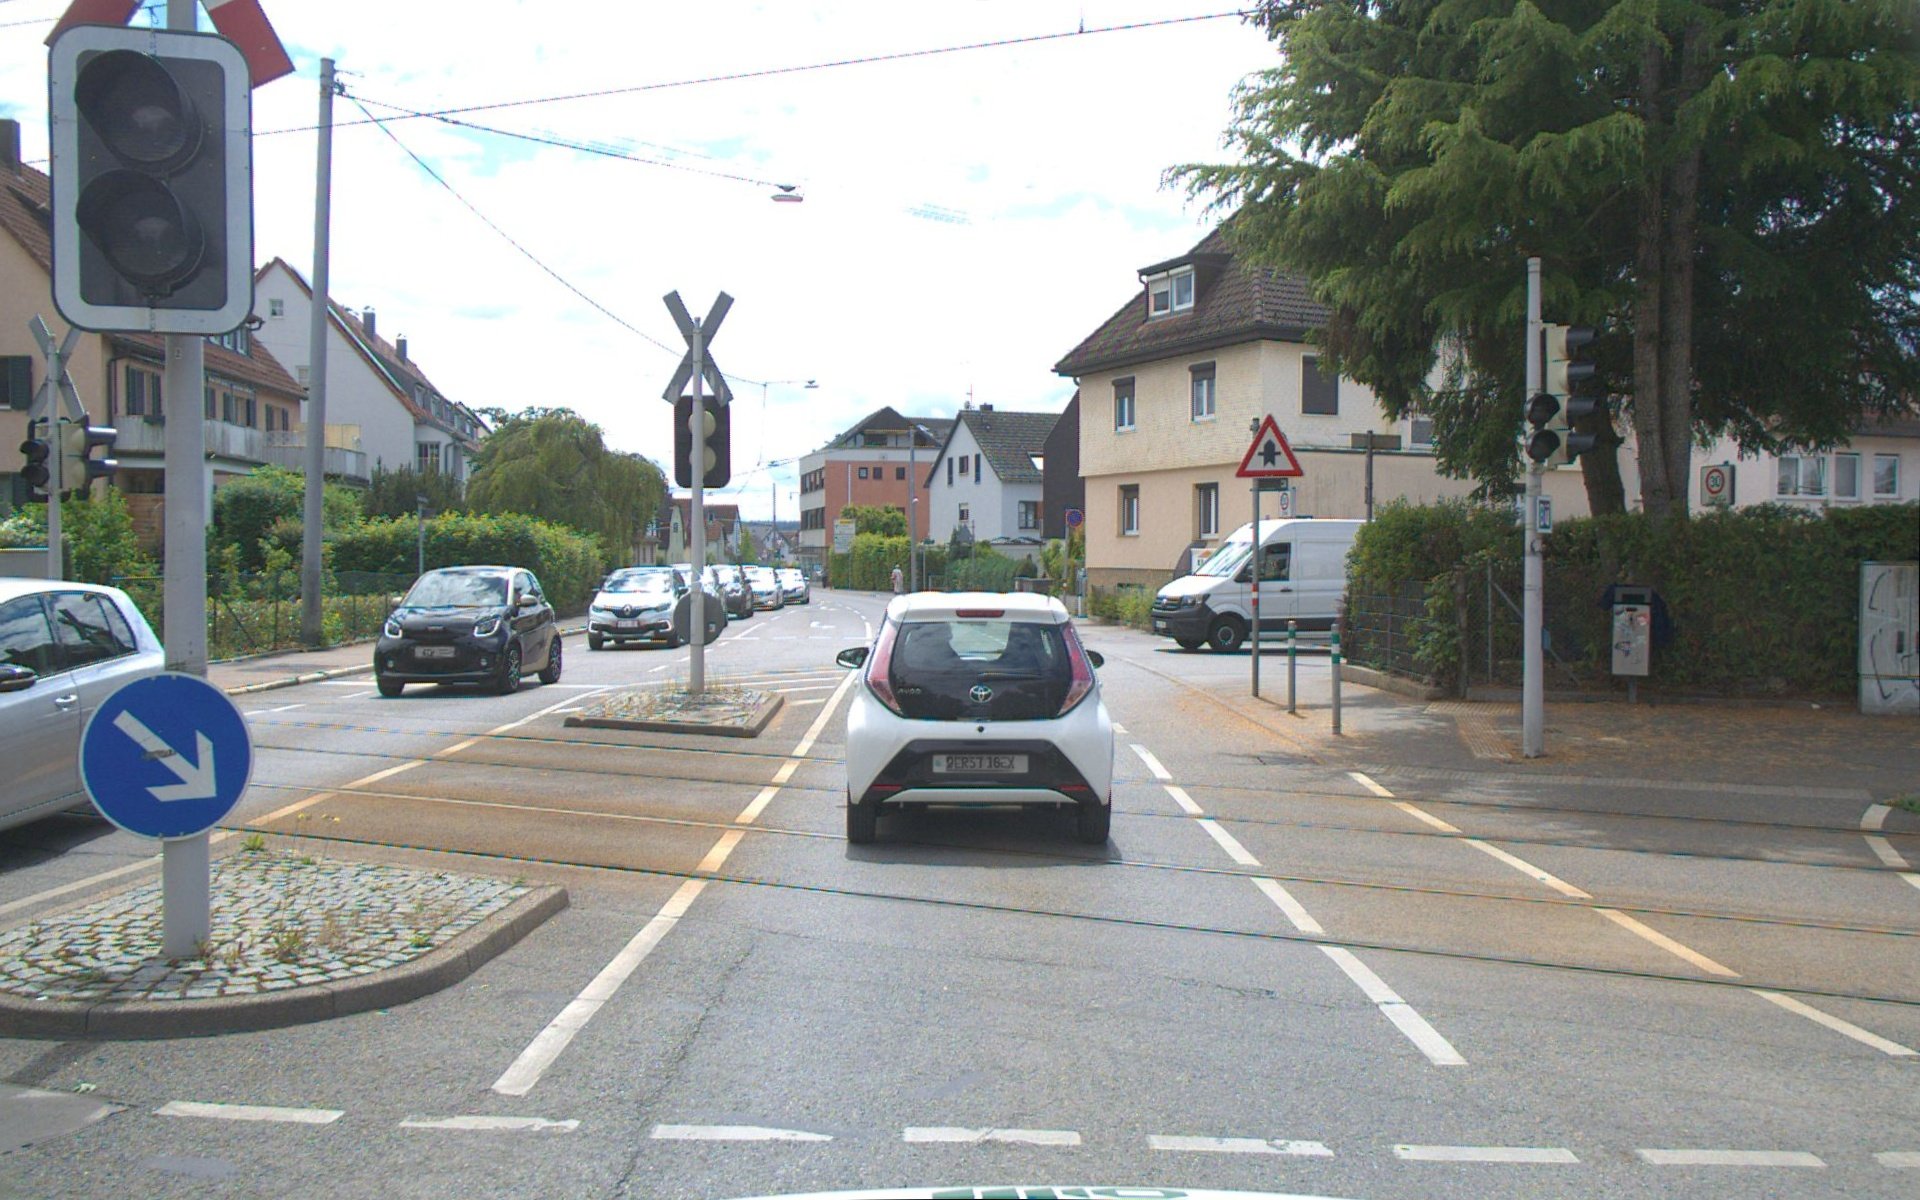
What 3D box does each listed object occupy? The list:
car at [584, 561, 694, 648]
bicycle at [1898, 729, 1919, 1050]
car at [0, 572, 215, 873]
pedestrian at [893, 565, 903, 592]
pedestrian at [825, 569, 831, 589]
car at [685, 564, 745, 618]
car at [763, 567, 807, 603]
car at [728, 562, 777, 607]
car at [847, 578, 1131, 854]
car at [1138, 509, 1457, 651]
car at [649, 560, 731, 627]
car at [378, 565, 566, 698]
[{"bbox_3d":[-6.383,0.053,33.276,1.740,1.631,4.035,0,1,-5],"label":"car"},{"bbox_3d":[3.648,0.974,4.694,0.912,1.058,1.915,2,-1,2],"label":"bicycle"},{"bbox_3d":[-5.680,0.612,8.877,1.654,1.483,4.068,0,1,-2],"label":"car"},{"bbox_3d":[-3.467,-1.209,92.911,0.405,1.463,0.437,1,1,24],"label":"pedestrian"},{"bbox_3d":[-9.660,-1.571,121.130,0.406,1.463,0.437,1,1,-11],"label":"pedestrian"},{"bbox_3d":[-7.635,-0.308,51.818,1.741,1.631,4.163,0,1,-7],"label":"car"},{"bbox_3d":[-7.425,-0.649,69.980,1.741,1.455,4.514,0,1,-8],"label":"car"},{"bbox_3d":[-7.675,-0.593,61.434,1.741,1.589,4.163,0,1,-7],"label":"car"},{"bbox_3d":[0.155,0.622,11.256,1.588,1.512,4.000,0,1,0],"label":"car"},{"bbox_3d":[6.604,-0.420,32.383,5.900,2.626,1.991,0,2,-17],"label":"car"},{"bbox_3d":[-6.827,-0.193,42.092,1.740,1.631,4.035,0,1,-5],"label":"car"},{"bbox_3d":[-6.057,0.337,20.801,1.543,1.536,2.788,0,2,-1],"label":"car"}]
